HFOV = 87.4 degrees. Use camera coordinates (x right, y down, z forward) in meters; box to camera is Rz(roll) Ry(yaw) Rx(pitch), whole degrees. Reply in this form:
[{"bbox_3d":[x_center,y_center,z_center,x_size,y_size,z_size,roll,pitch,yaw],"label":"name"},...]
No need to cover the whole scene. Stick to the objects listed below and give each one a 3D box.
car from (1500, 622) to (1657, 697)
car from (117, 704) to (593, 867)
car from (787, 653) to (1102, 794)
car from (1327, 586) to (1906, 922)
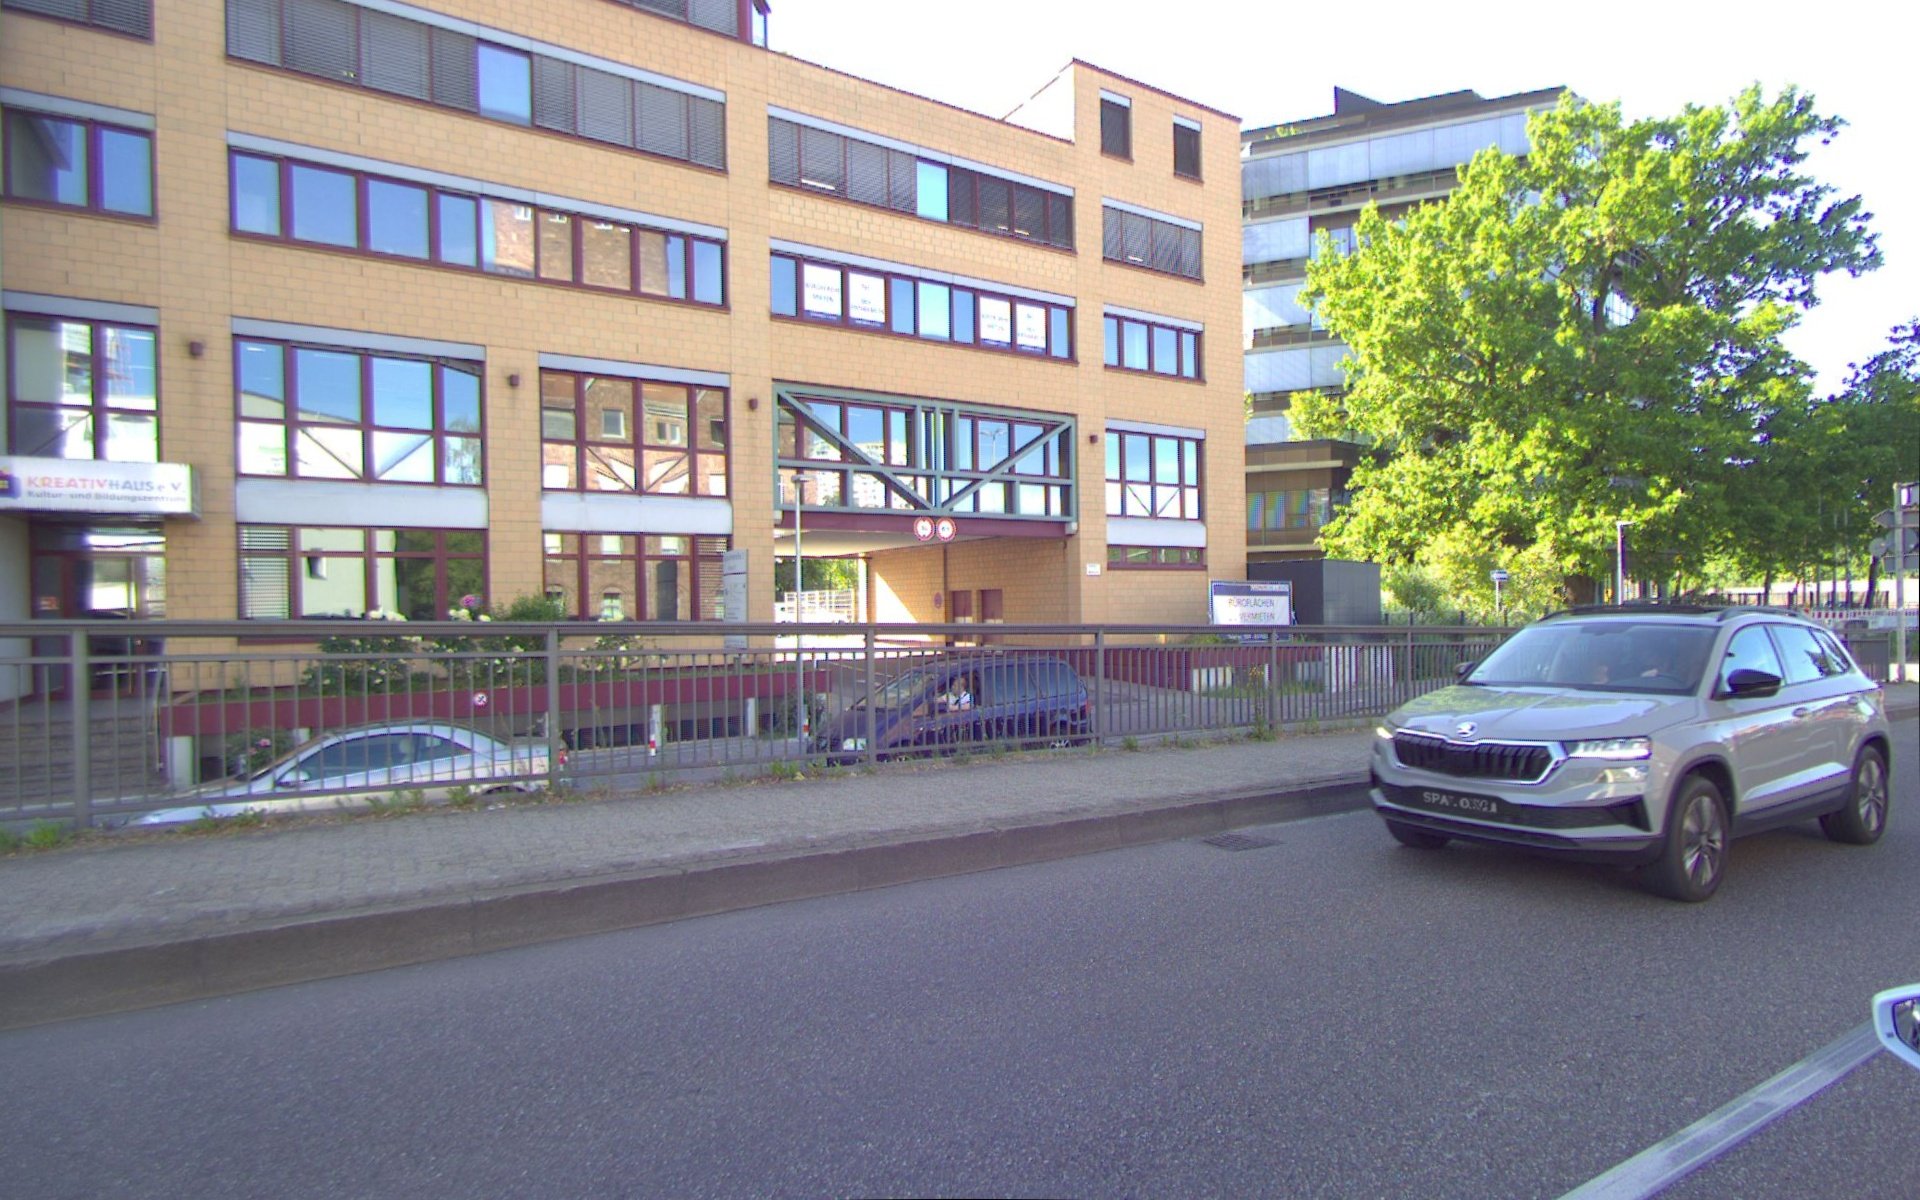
[{"bbox_3d":[16.109,1.476,26.133,3.953,1.715,1.843,-1,0,-30],"label":"car"},{"bbox_3d":[-6.438,1.902,11.131,4.210,1.181,1.712,0,-2,-32],"label":"car"},{"bbox_3d":[-0.135,1.700,14.992,4.541,1.669,1.710,0,-2,-36],"label":"car"},{"bbox_3d":[4.493,0.803,6.752,3.956,1.645,1.794,1,-2,-32],"label":"car"}]
